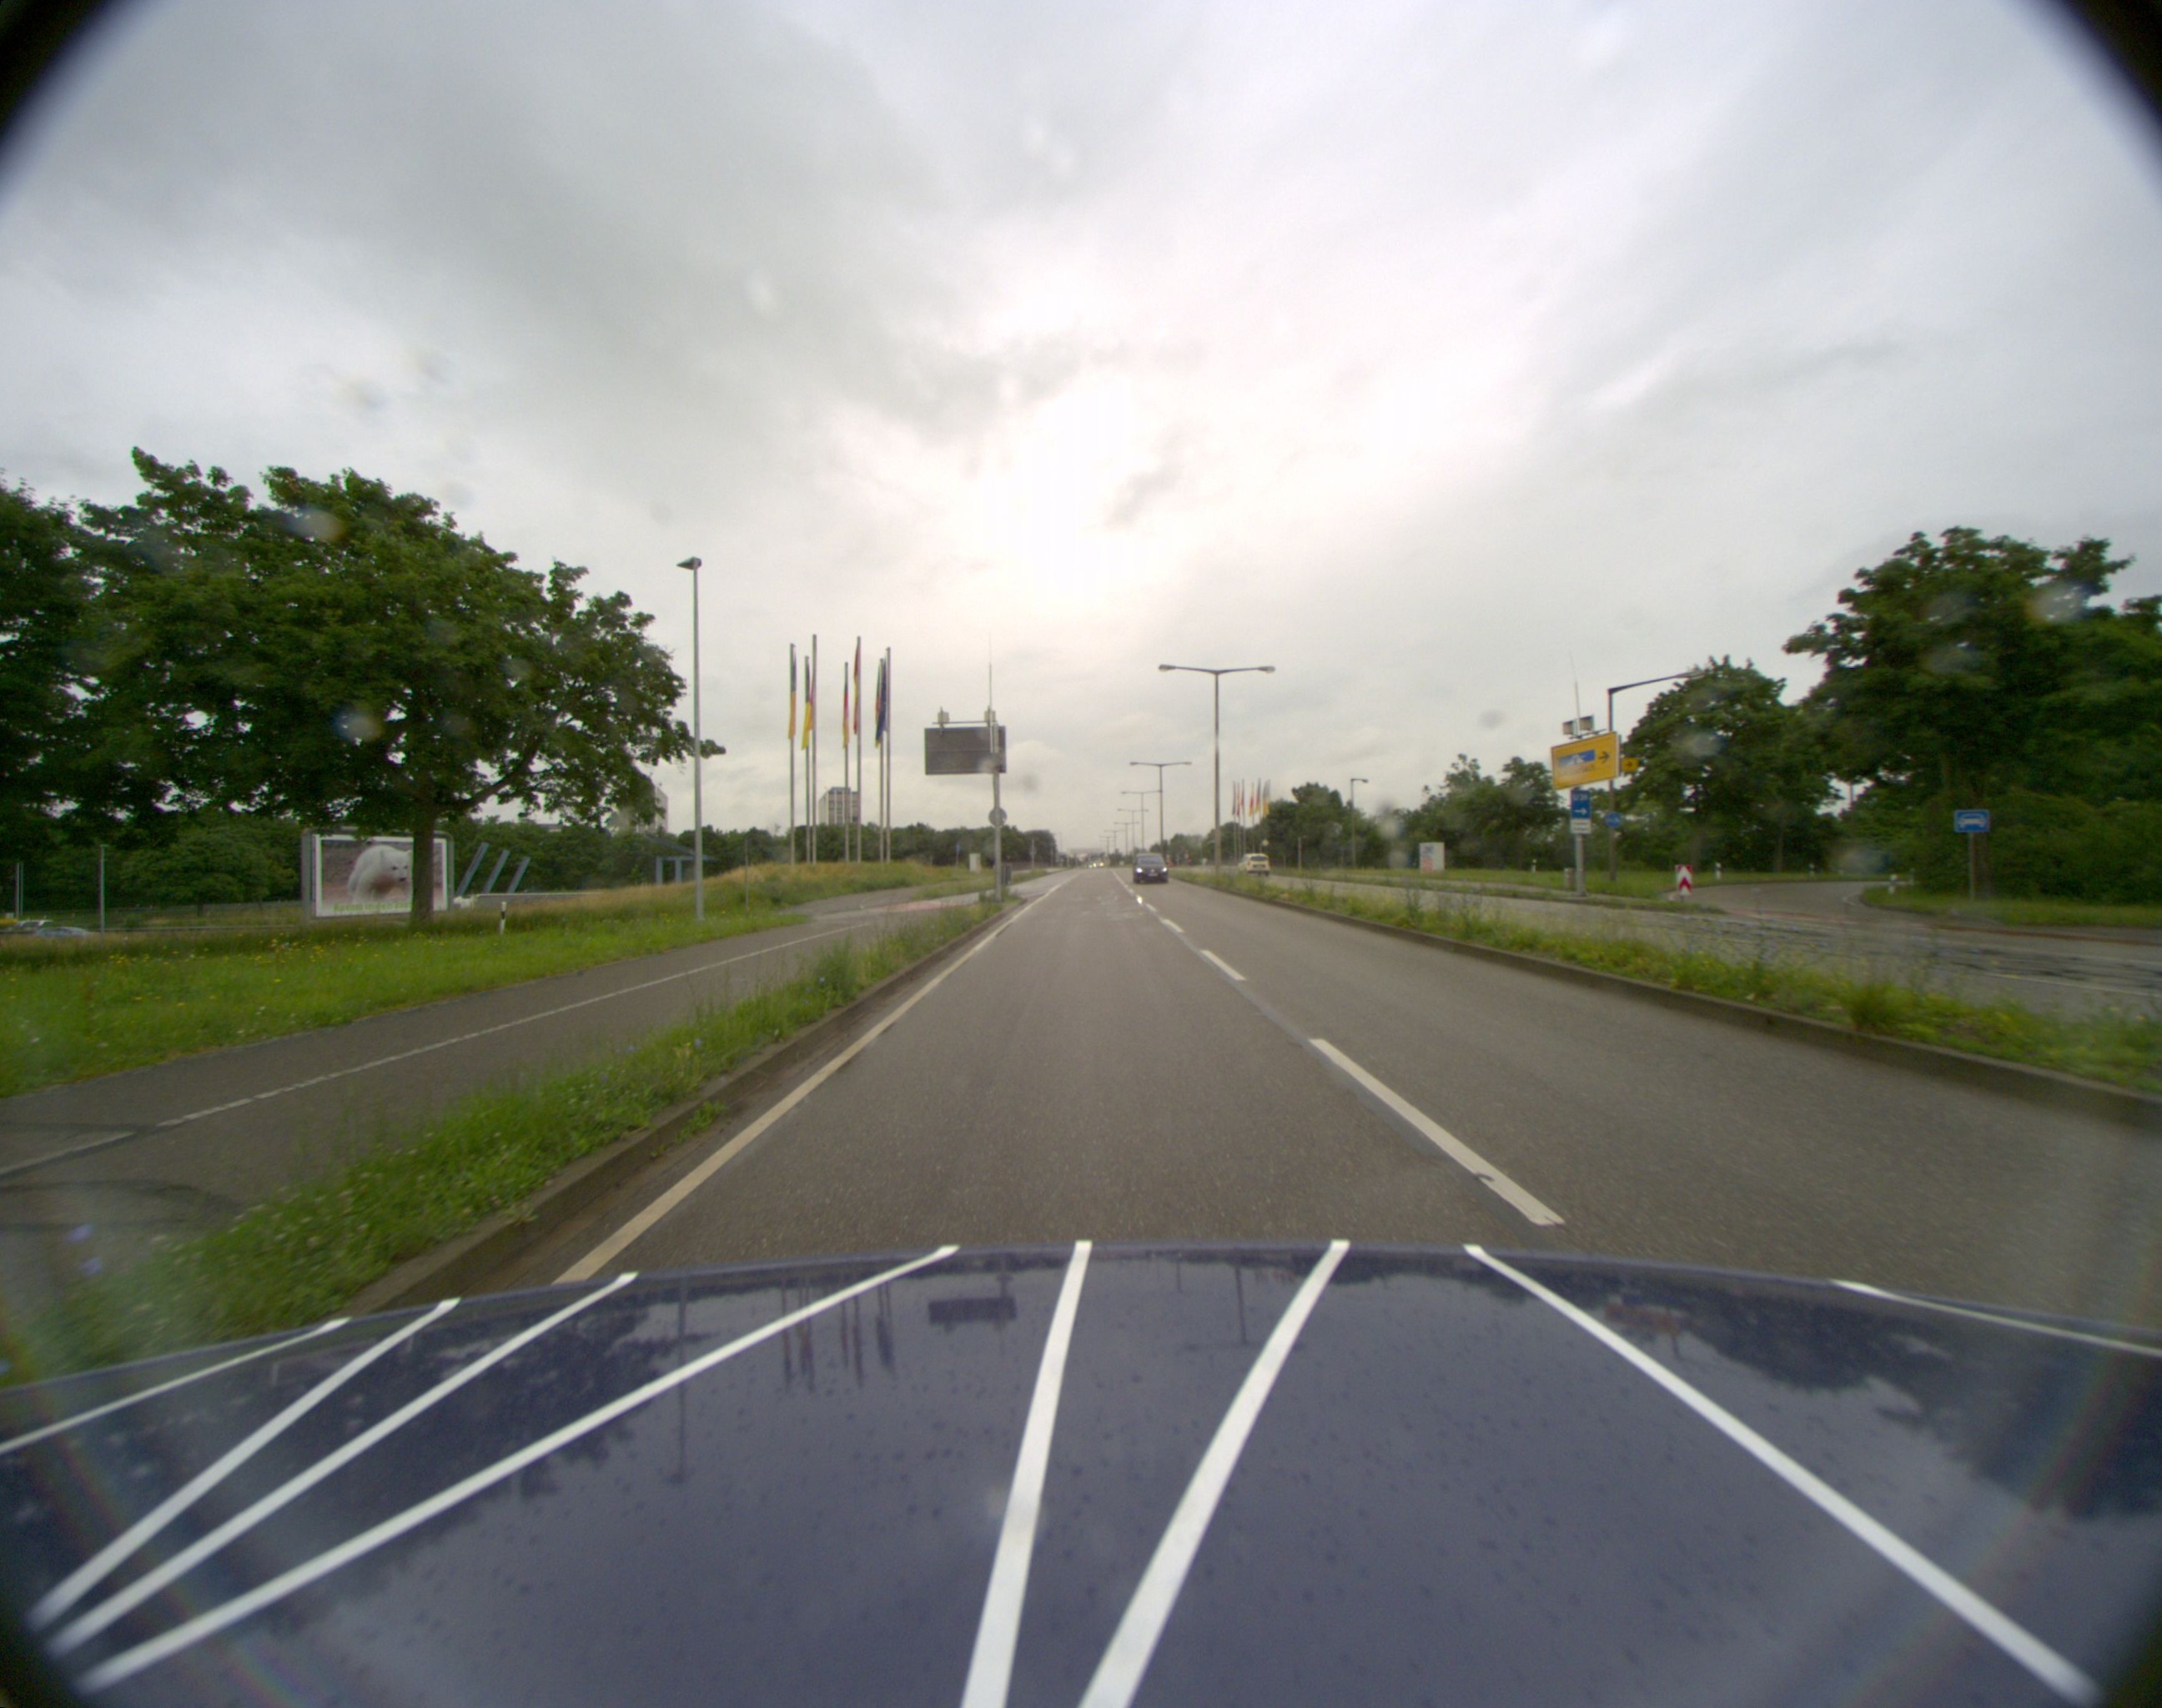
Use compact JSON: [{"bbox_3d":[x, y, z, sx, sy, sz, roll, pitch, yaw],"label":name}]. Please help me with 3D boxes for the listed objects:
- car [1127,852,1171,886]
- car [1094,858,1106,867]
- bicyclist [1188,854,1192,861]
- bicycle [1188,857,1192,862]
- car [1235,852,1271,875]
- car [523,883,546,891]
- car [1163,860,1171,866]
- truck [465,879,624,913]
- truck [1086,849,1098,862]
[{"bbox_3d":[3.874,0.810,44.204,1.850,1.740,4.816,-3,0,-2],"label":"car"},{"bbox_3d":[3.590,1.623,143.872,1.999,1.700,4.000,-2,0,0],"label":"car"},{"bbox_3d":[24.078,0.794,167.958,0.621,1.491,1.003,-3,0,1],"label":"bicyclist"},{"bbox_3d":[24.085,1.244,167.956,0.611,1.027,2.001,-3,0,1],"label":"bicycle"},{"bbox_3d":[13.119,0.721,58.140,1.711,1.620,4.492,1,0,0],"label":"car"},{"bbox_3d":[-120.588,7.317,167.782,4.007,1.622,1.995,-2,0,-35],"label":"car"},{"bbox_3d":[21.729,2.220,191.074,1.664,1.440,3.557,1,0,1],"label":"car"},{"bbox_3d":[-67.916,5.257,96.875,16.279,3.370,2.744,-2,0,-20],"label":"truck"},{"bbox_3d":[2.898,0.478,201.003,2.860,3.196,8.097,-2,0,0],"label":"truck"}]
